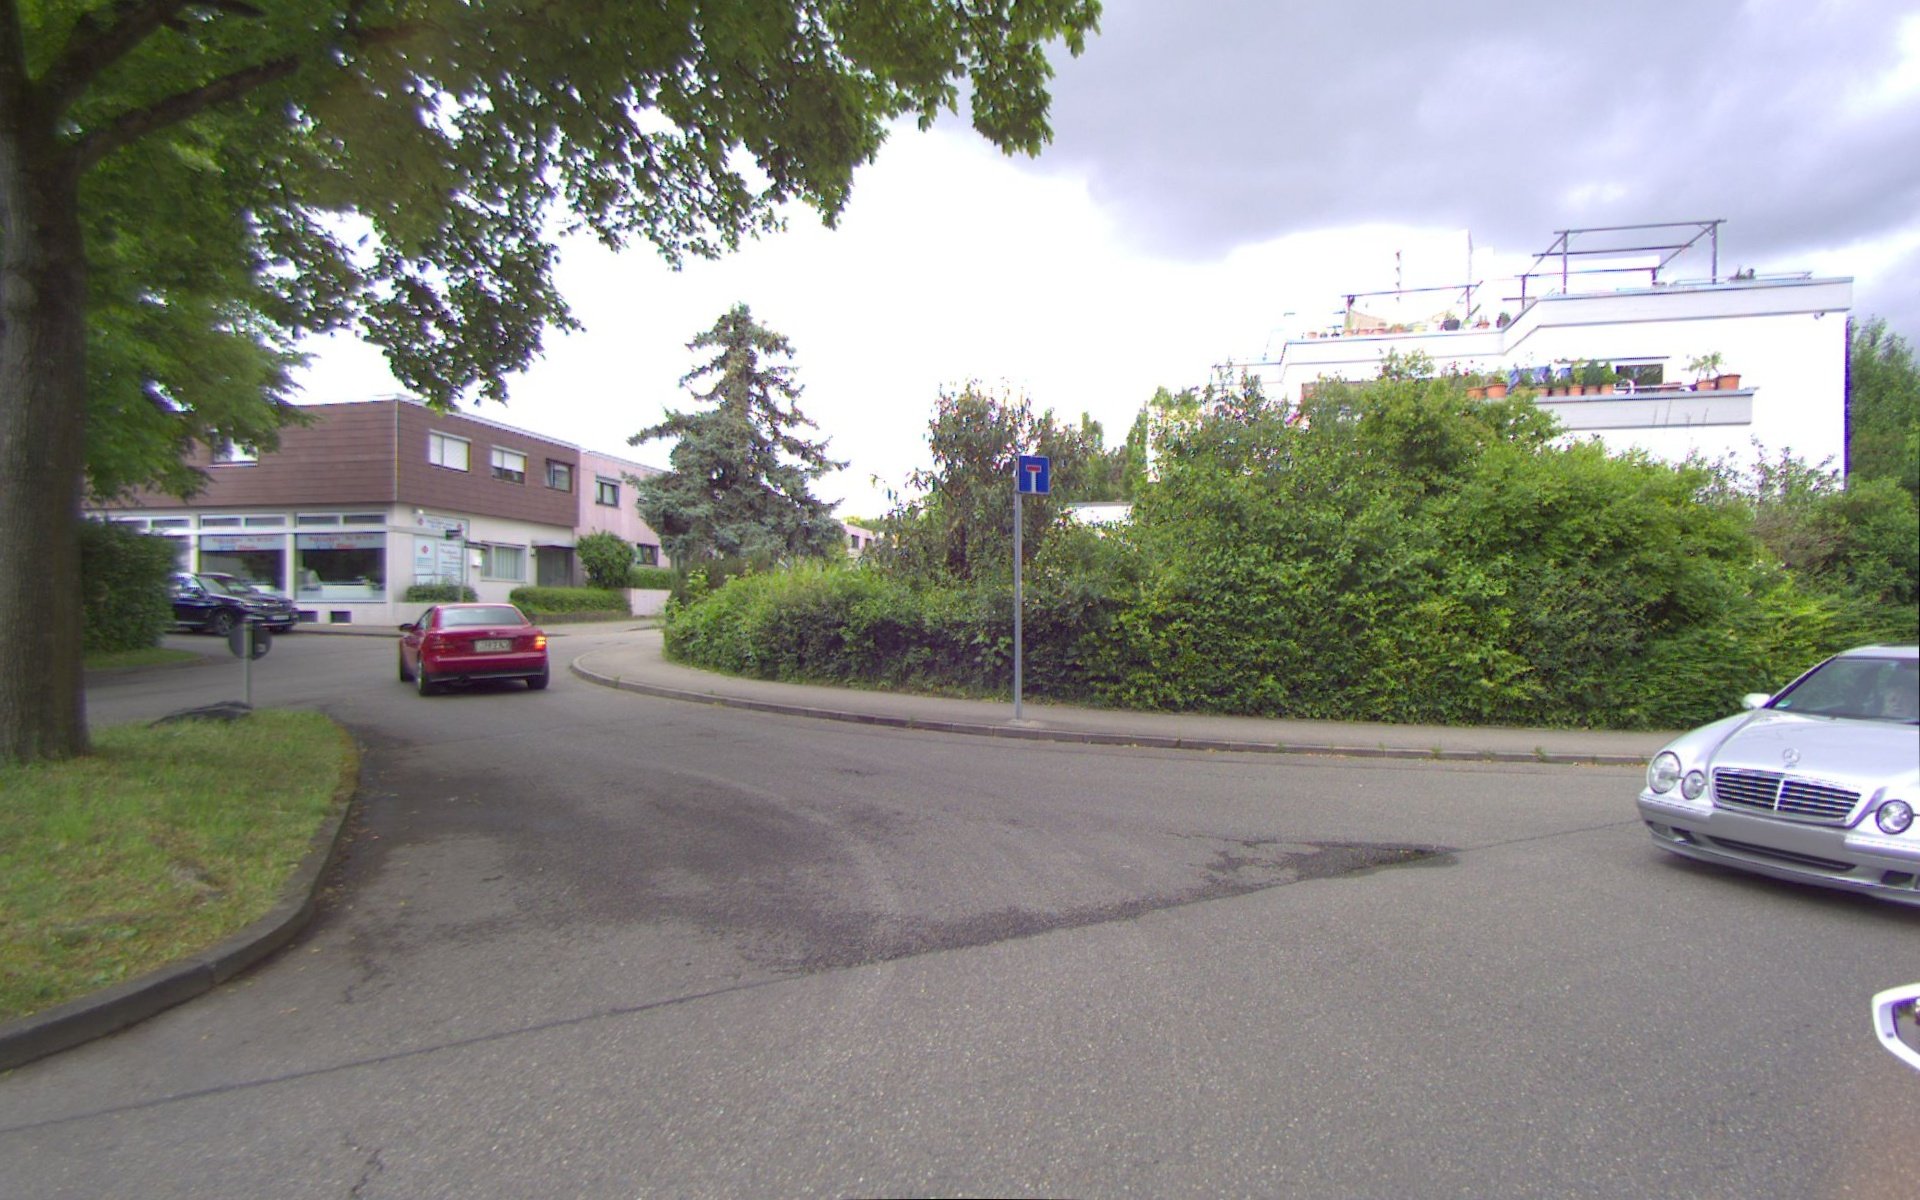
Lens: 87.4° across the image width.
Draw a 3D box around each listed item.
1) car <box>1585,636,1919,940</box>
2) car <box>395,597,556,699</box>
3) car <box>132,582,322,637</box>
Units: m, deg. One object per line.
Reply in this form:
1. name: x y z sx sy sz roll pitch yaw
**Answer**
1. car: 6.027 0.922 6.131 4.238 1.324 1.775 1 0 -26
2. car: -7.629 0.649 15.613 1.737 1.353 4.027 1 0 -33
3. car: -20.400 0.227 28.024 4.192 1.395 2.001 1 2 13
